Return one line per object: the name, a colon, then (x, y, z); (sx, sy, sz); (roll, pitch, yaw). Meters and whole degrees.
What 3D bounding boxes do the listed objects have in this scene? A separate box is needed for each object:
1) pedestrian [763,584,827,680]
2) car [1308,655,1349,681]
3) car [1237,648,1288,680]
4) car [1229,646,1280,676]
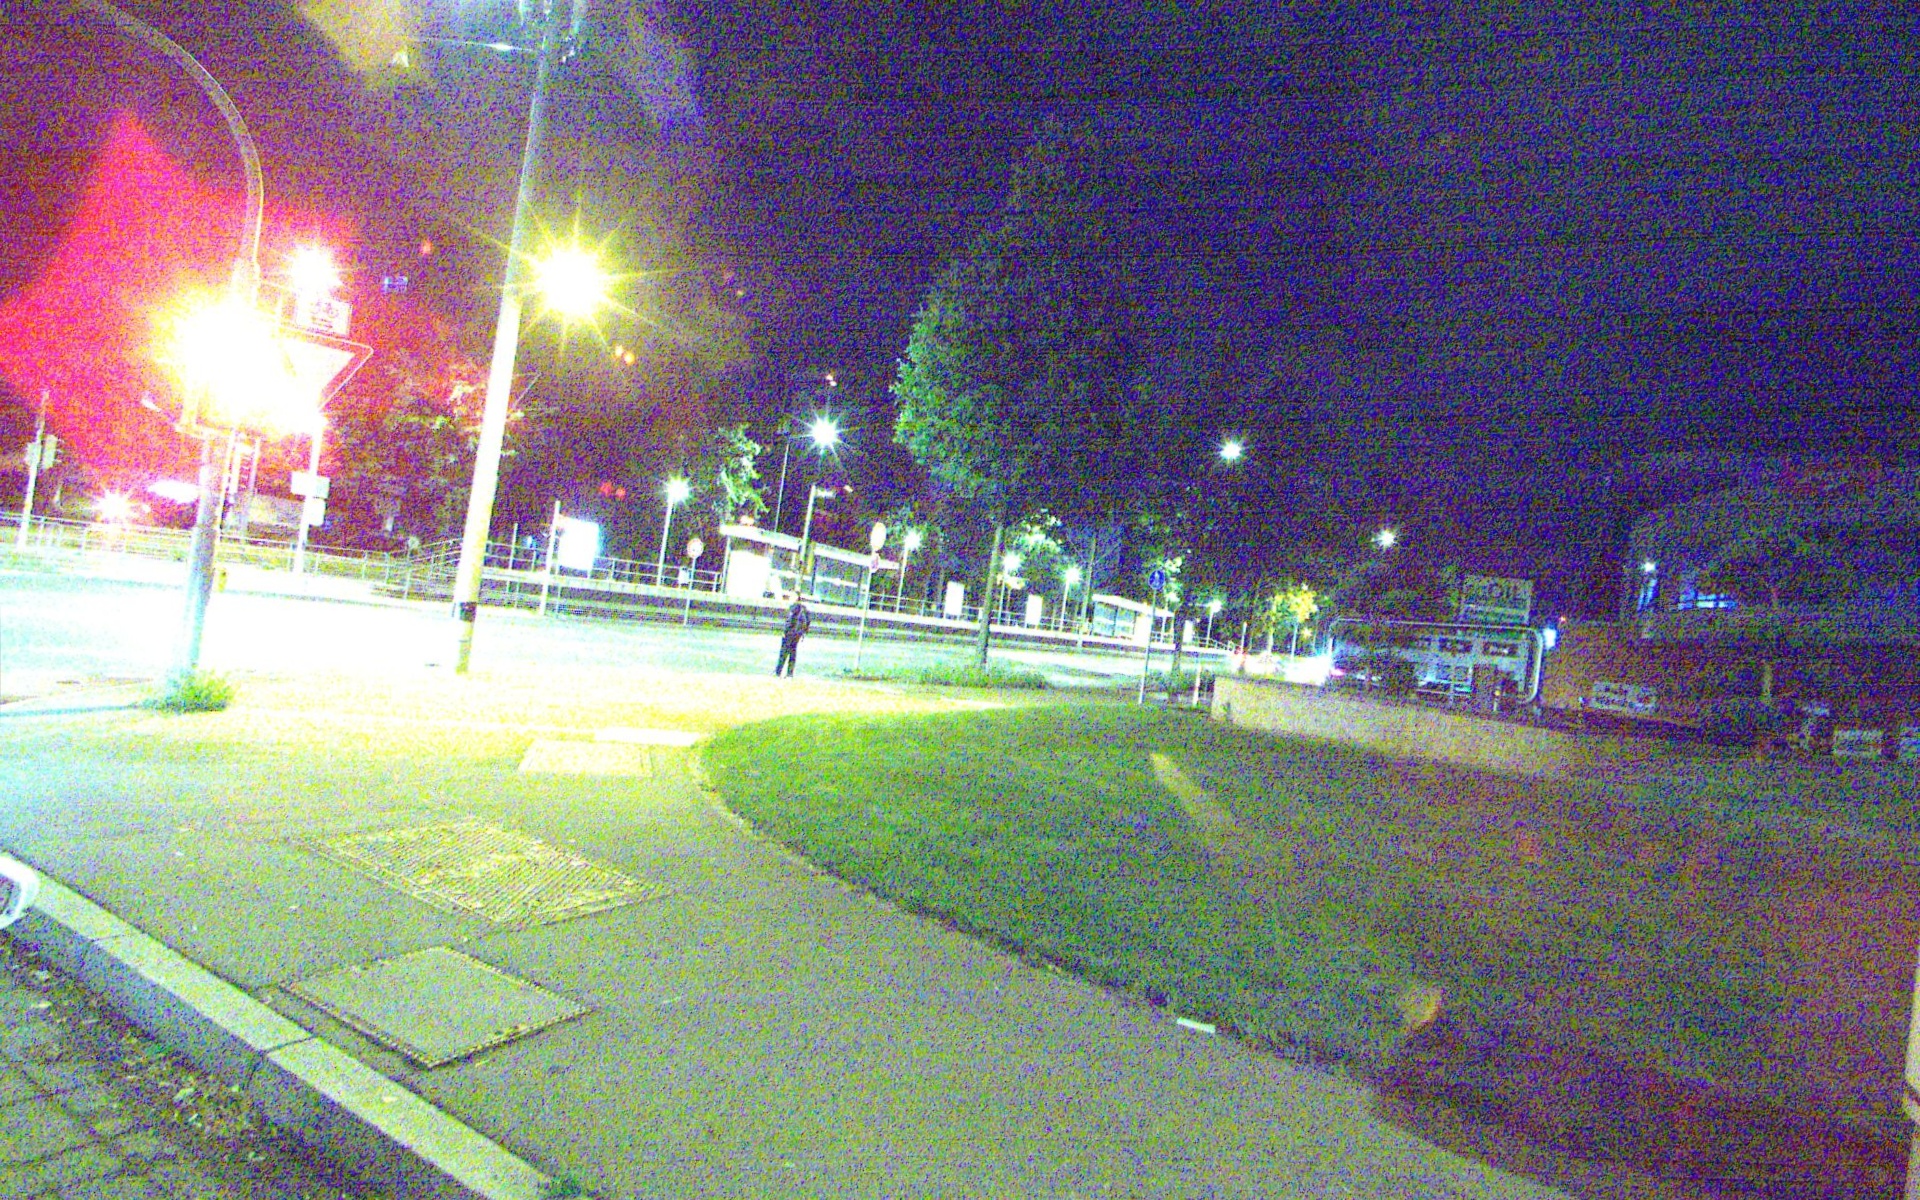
pedestrian: (-3.186, 0.620, 19.468); (0.820, 1.767, 0.755); (4, 0, 31)
car: (26.472, 4.902, 72.139); (1.833, 1.510, 4.477); (8, 0, 31)
car: (17.858, 3.802, 59.260); (1.660, 1.525, 3.833); (9, 0, 34)
car: (19.879, 4.133, 67.828); (1.784, 1.584, 4.514); (10, 0, 35)
